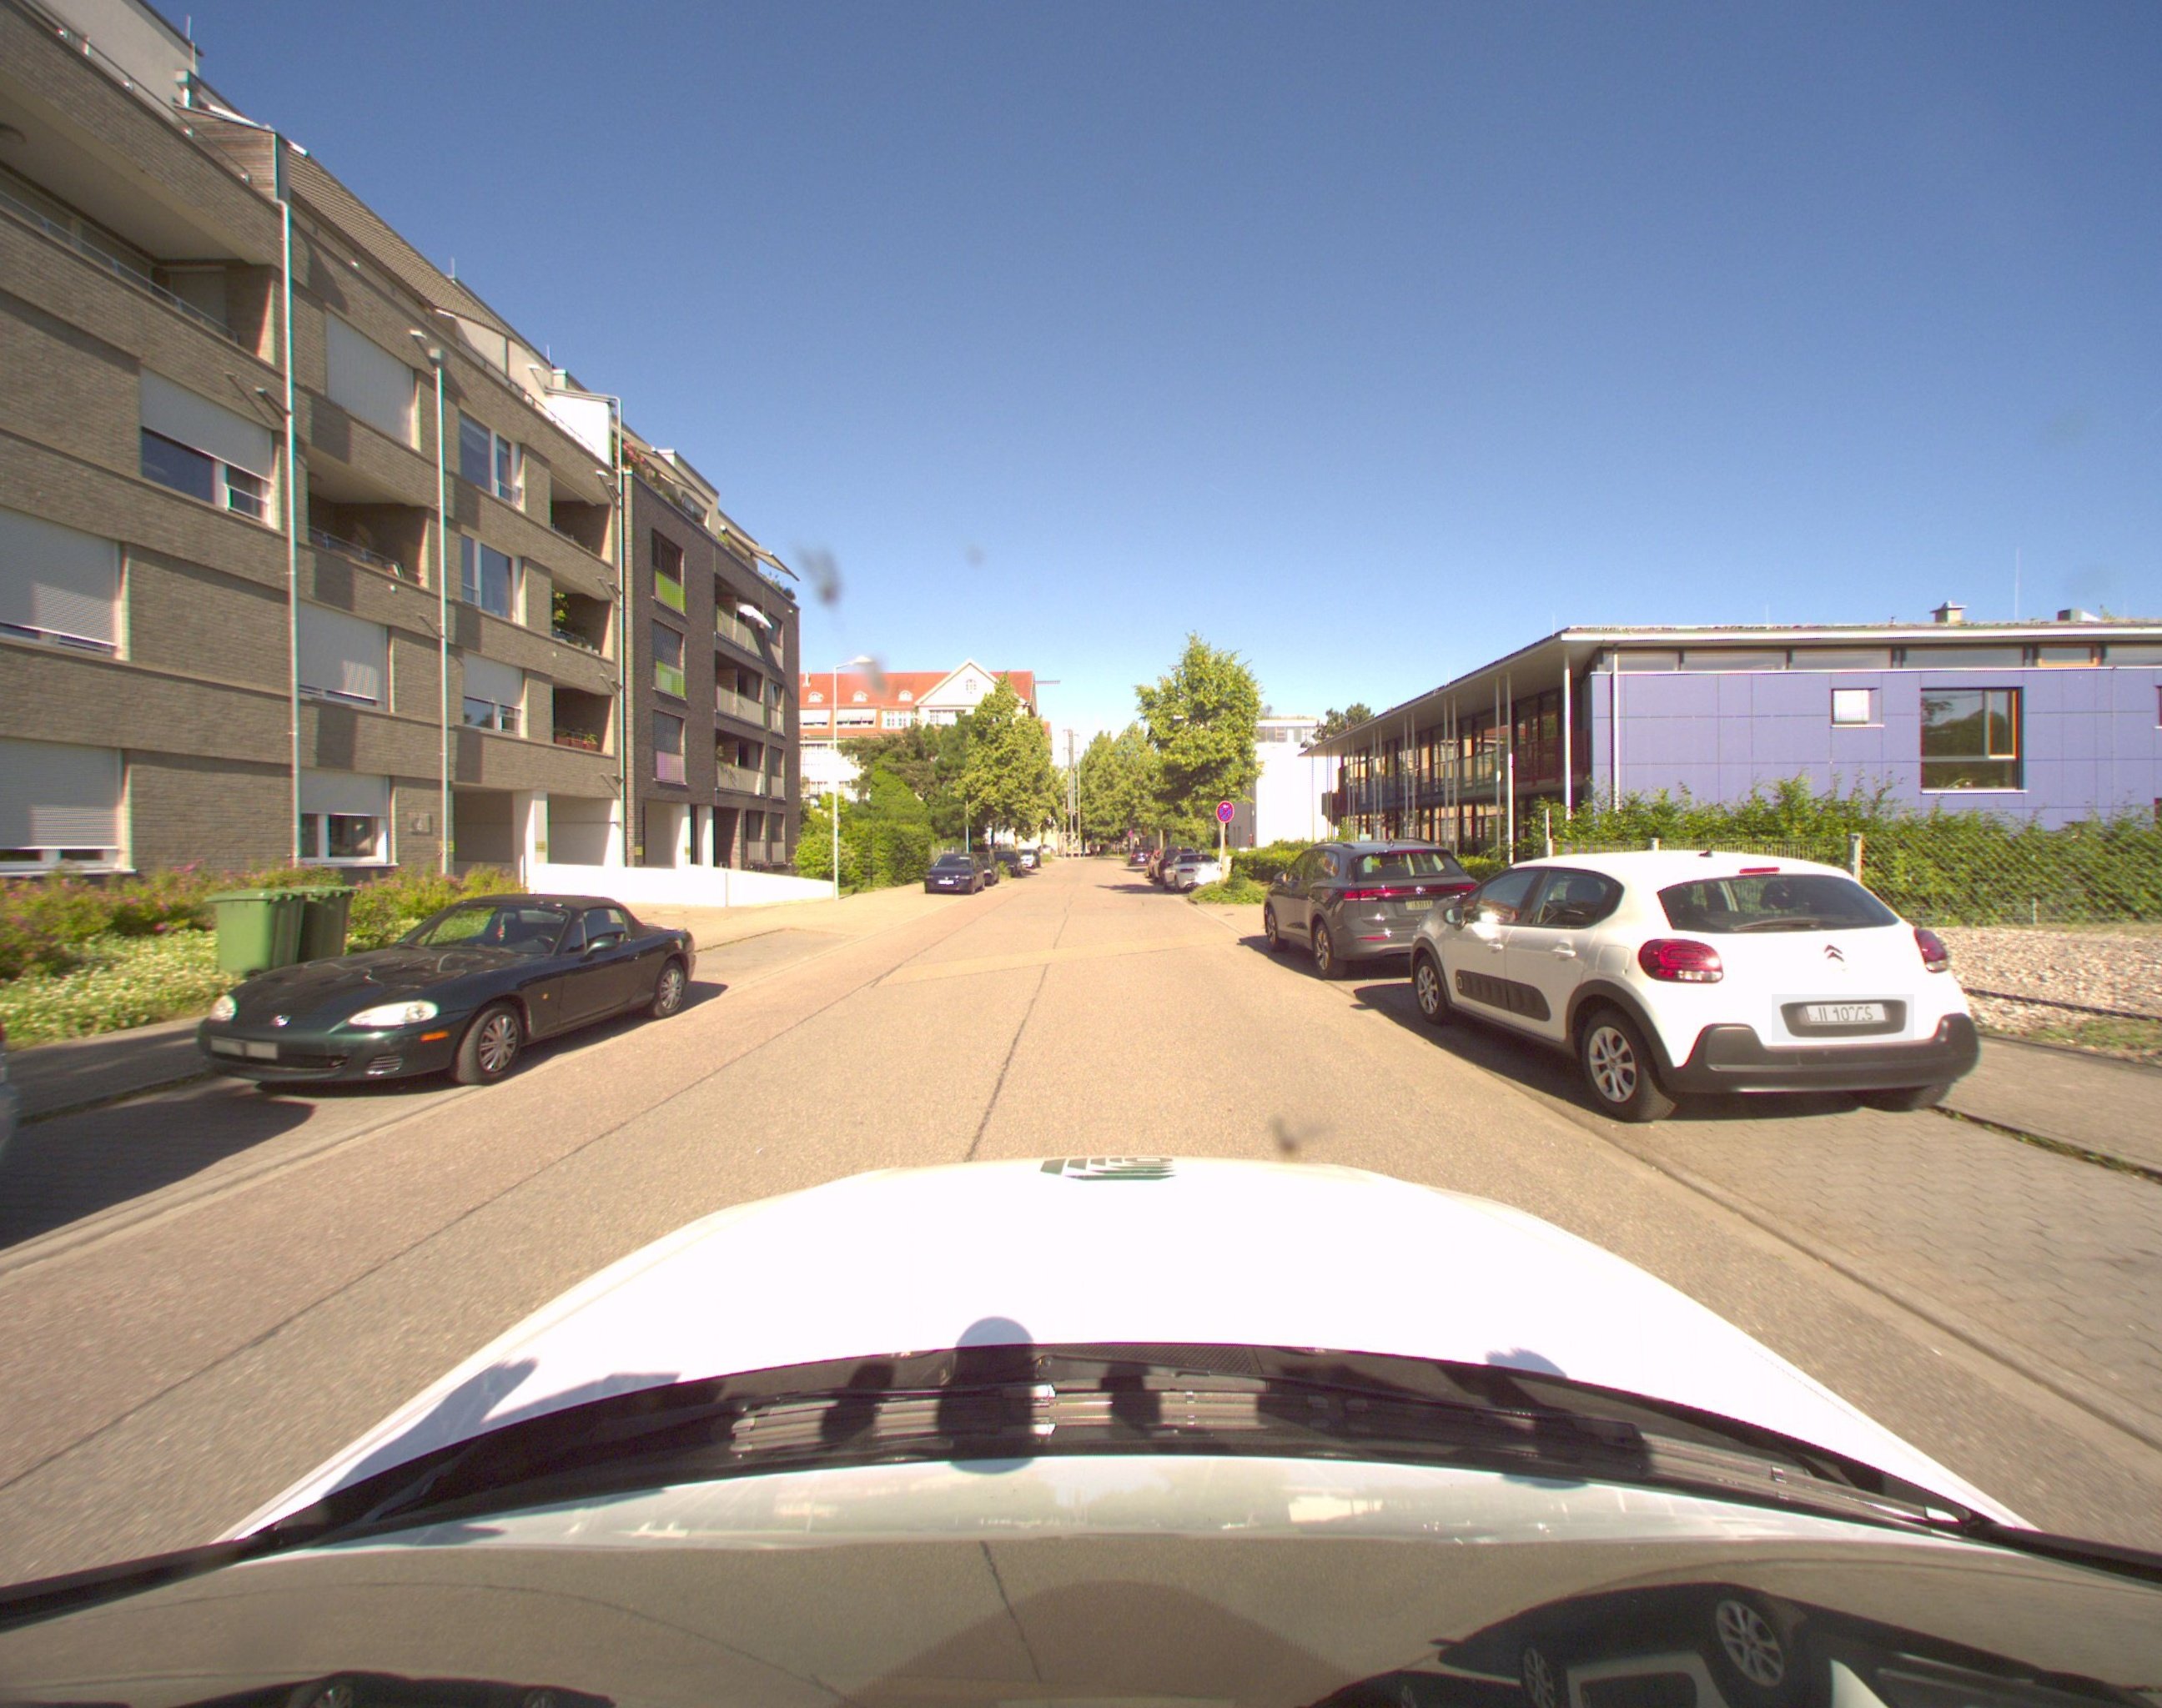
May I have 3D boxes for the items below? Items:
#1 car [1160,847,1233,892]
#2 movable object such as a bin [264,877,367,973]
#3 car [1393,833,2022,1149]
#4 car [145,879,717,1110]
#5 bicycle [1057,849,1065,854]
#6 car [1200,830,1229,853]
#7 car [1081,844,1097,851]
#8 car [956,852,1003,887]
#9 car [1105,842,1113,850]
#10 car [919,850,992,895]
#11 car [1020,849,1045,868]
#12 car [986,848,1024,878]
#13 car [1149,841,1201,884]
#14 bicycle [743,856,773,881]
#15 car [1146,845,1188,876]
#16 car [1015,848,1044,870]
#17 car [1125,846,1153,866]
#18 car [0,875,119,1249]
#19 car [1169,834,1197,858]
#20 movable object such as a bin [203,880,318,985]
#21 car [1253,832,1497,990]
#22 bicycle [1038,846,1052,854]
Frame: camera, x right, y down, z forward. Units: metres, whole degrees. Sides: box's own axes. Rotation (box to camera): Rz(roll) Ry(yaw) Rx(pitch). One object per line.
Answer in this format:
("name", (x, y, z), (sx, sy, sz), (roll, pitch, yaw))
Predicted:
("car", (4.095, 0.541, 29.581), (1.825, 1.422, 4.229), (-3, 0, -2))
("movable object such as a bin", (-9.237, 0.842, 9.848), (0.605, 1.083, 0.636), (-1, 1, -1))
("car", (3.820, 0.638, 5.933), (1.674, 1.542, 3.849), (-1, 1, 1))
("car", (-4.799, 0.906, 6.864), (1.593, 1.217, 3.877), (1, 0, 2))
("bicycle", (-2.552, -0.295, 103.963), (0.375, 0.683, 1.068), (-1, 1, -35))
("car", (11.850, -1.085, 72.464), (1.986, 2.013, 4.001), (-1, 0, 1))
("car", (2.162, -1.725, 215.147), (3.972, 2.013, 2.001), (-1, 1, 1))
("car", (-4.523, 0.652, 36.710), (1.624, 1.501, 3.578), (-1, 0, 1))
("car", (7.365, -2.036, 216.458), (1.986, 2.013, 4.002), (-1, 1, 1))
("car", (-4.585, 0.641, 30.337), (1.753, 1.527, 4.005), (2, 0, 4))
("car", (-3.838, 0.317, 64.952), (1.695, 1.470, 3.462), (-1, 0, 1))
("car", (-4.268, 0.490, 46.218), (1.688, 1.605, 3.943), (-1, 0, 1))
("car", (4.167, 0.362, 36.645), (1.815, 1.718, 4.119), (-3, 0, 0))
("bicycle", (-11.776, 0.508, 29.718), (0.252, 0.837, 1.776), (0, 1, 4))
("car", (4.442, 0.323, 42.749), (1.828, 1.516, 3.880), (-1, 0, 0))
("car", (-3.744, 0.360, 59.487), (1.771, 1.530, 4.000), (-1, 0, 1))
("car", (4.669, 0.144, 65.949), (1.986, 1.486, 4.001), (-1, 0, 1))
("car", (-5.069, 0.838, 1.659), (1.606, 1.465, 3.873), (-1, 0, 0))
("car", (9.032, -0.697, 72.489), (2.017, 2.013, 4.001), (-1, 0, 1))
("movable object such as a bin", (-9.148, 0.854, 9.098), (0.605, 1.090, 0.636), (-1, 1, -1))
("car", (3.674, 0.615, 11.070), (1.720, 1.652, 4.326), (-3, 0, 0))
("bicycle", (-3.736, -0.443, 84.208), (1.464, 0.842, 0.335), (-1, 1, -4))
